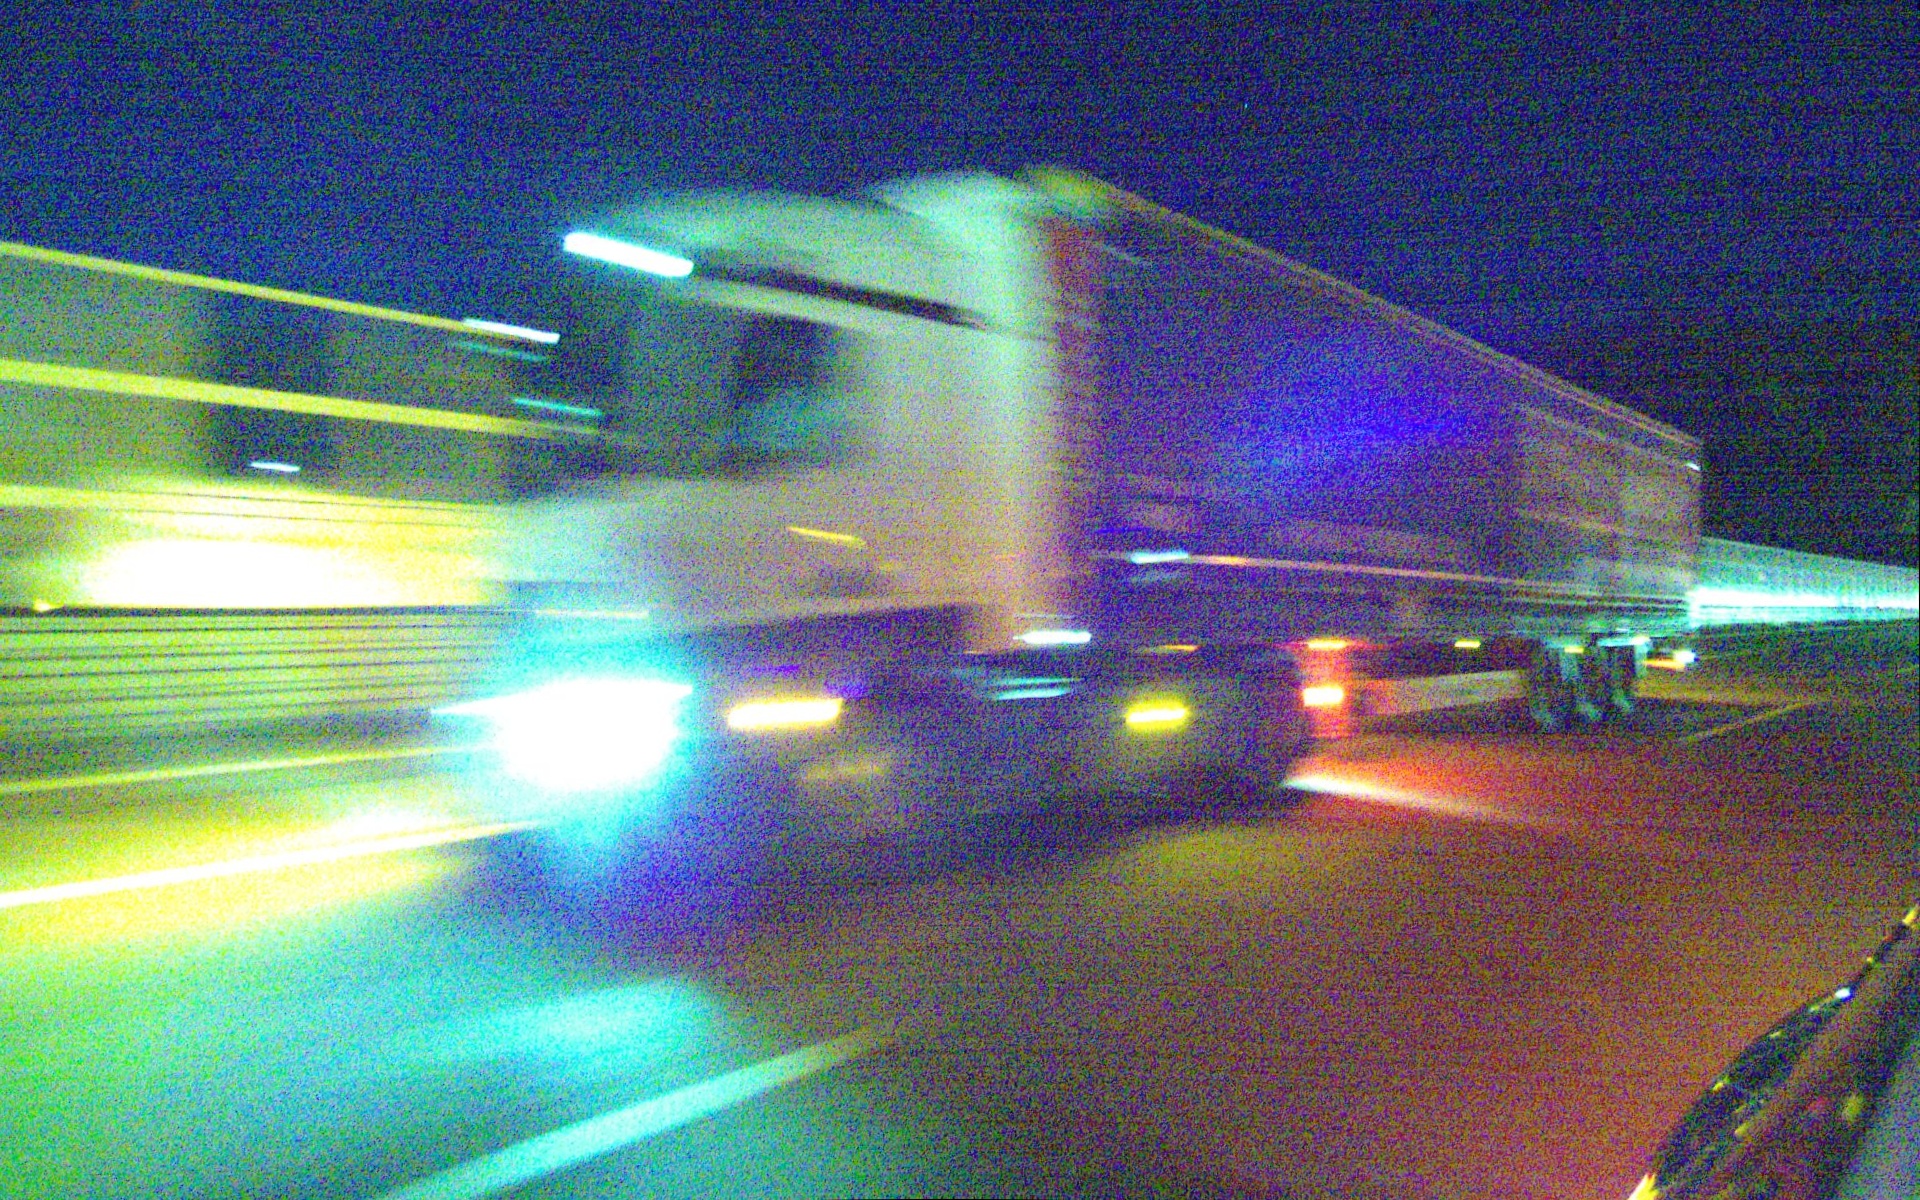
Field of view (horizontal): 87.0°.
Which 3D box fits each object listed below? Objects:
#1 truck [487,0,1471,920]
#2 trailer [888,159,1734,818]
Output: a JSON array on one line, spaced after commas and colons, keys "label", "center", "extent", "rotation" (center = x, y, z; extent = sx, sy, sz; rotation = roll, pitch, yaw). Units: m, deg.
[{"label": "truck", "center": [0.757, -0.755, 7.736], "extent": [7.377, 4.127, 2.868], "rotation": [1, 2, -40]}, {"label": "trailer", "center": [5.313, -0.710, 11.639], "extent": [12.970, 4.117, 2.861], "rotation": [1, 2, -40]}]
